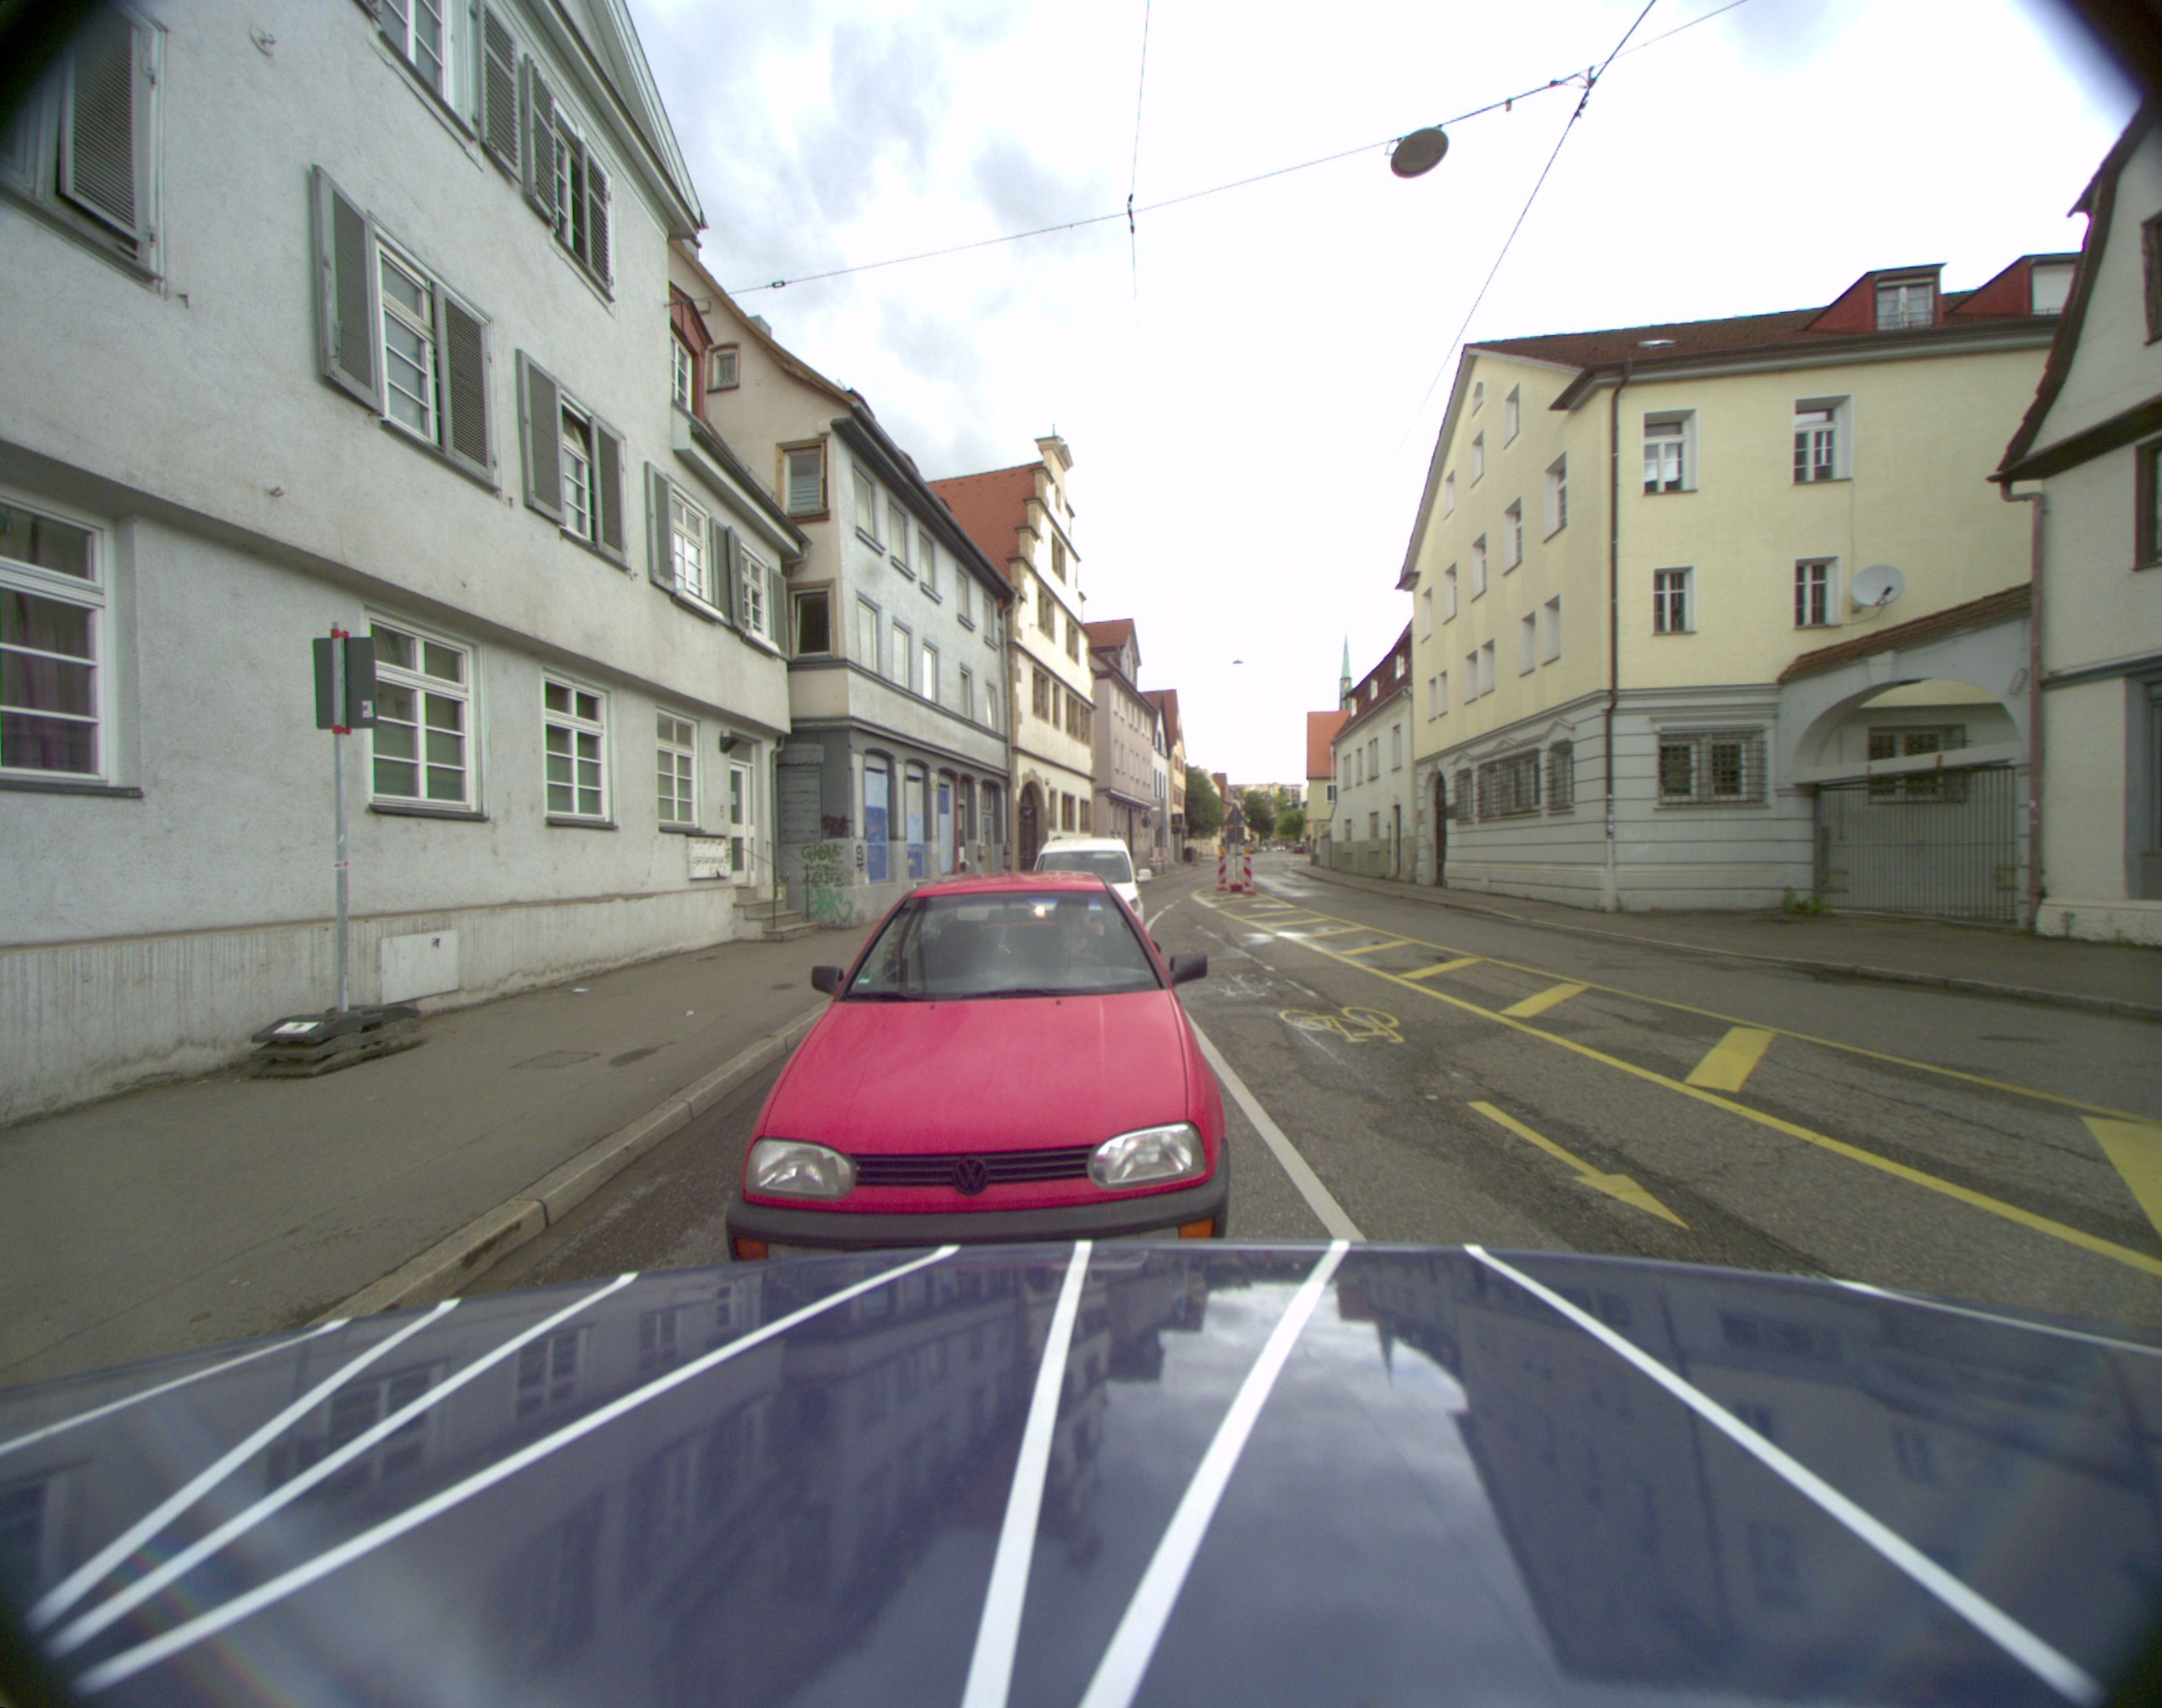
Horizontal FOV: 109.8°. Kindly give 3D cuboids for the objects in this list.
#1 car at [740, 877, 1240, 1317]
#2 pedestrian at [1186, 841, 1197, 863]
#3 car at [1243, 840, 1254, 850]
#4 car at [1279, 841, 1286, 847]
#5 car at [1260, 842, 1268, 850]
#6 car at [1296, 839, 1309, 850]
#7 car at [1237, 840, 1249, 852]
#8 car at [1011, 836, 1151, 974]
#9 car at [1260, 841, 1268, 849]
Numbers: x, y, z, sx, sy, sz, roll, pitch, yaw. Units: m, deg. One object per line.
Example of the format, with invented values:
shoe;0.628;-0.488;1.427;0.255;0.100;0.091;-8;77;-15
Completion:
car;-0.316;0.982;4.875;1.804;1.458;4.000;-4;0;1
pedestrian;9.704;-0.162;66.545;0.877;1.888;0.898;-1;0;14
car;34.016;-1.781;154.273;1.996;2.002;4.004;-1;0;13
car;62.533;-3.052;235.676;1.996;2.002;4.004;-1;0;13
car;48.490;-2.138;201.286;1.996;2.002;4.004;-1;0;13
car;42.737;-1.800;146.582;2.057;2.002;4.004;-1;0;13
car;28.463;-1.366;133.502;1.996;2.002;4.004;-1;0;13
car;0.030;0.679;12.123;1.804;1.781;4.349;-1;0;1
car;44.968;-2.186;186.812;1.996;2.002;4.004;-1;0;13
